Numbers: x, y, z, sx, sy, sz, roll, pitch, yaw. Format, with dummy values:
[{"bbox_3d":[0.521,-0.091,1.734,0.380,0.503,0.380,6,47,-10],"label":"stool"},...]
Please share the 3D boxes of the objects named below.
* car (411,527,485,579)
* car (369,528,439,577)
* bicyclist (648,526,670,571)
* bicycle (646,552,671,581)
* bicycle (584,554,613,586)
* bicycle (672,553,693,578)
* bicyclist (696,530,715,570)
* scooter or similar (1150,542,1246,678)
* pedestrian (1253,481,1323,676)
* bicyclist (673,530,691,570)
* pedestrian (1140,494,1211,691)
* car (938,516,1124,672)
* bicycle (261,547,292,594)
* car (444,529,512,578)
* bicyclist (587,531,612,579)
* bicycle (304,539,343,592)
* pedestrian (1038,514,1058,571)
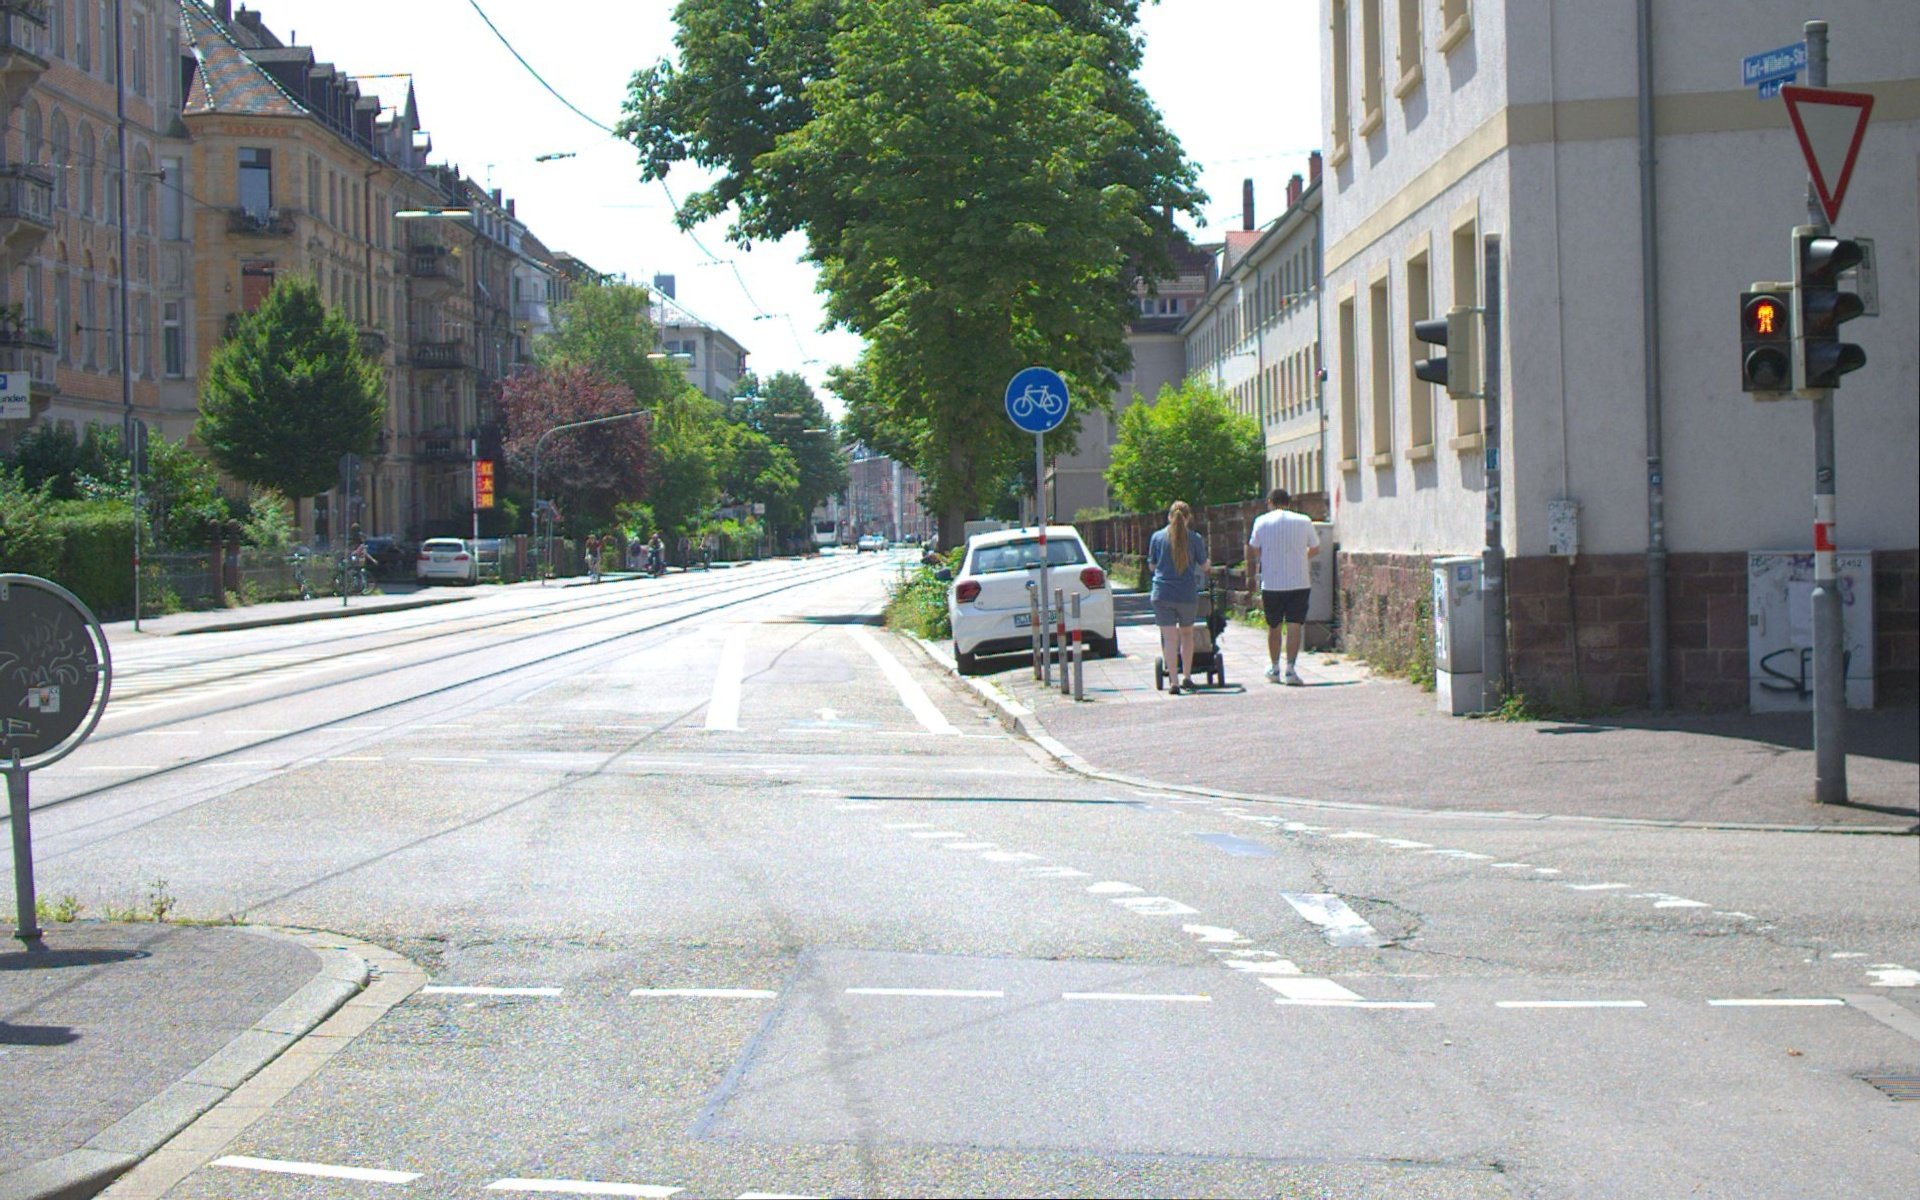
[{"bbox_3d":[-17.193,-1.581,115.570,1.919,1.709,4.000,1,1,-1],"label":"car"},{"bbox_3d":[-20.023,-1.704,123.908,1.919,1.709,4.000,1,1,-1],"label":"car"},{"bbox_3d":[-11.775,-2.007,134.655,0.727,1.762,1.079,1,0,1],"label":"bicyclist"},{"bbox_3d":[-11.787,-1.314,134.579,0.727,1.119,2.085,1,1,1],"label":"bicycle"},{"bbox_3d":[-12.501,-1.039,119.063,0.727,1.119,2.085,1,1,1],"label":"bicycle"},{"bbox_3d":[-12.667,-1.559,156.805,0.727,1.119,2.085,1,1,1],"label":"bicycle"},{"bbox_3d":[-11.596,-2.260,156.689,0.727,1.812,1.079,1,0,1],"label":"bicyclist"},{"bbox_3d":[2.086,0.079,29.974,0.557,1.151,1.204,1,0,17],"label":"scooter or similar"},{"bbox_3d":[2.797,-0.184,29.328,0.557,1.640,0.677,1,0,5],"label":"pedestrian"},{"bbox_3d":[-12.671,-2.275,156.733,0.727,1.812,1.079,1,0,1],"label":"bicyclist"},{"bbox_3d":[1.828,-0.066,29.072,0.557,1.640,0.677,1,0,5],"label":"pedestrian"},{"bbox_3d":[0.717,-0.085,37.323,1.815,1.511,4.000,-3,1,-1],"label":"car"},{"bbox_3d":[-15.908,-0.702,80.031,0.677,1.061,1.919,-1,1,-11],"label":"bicycle"},{"bbox_3d":[-17.337,-1.666,123.834,1.919,1.709,4.000,1,1,-1],"label":"car"},{"bbox_3d":[-12.495,-1.560,119.093,0.727,1.623,1.079,1,0,1],"label":"bicyclist"},{"bbox_3d":[-15.665,-0.852,84.674,0.677,1.274,1.919,-1,1,-3],"label":"bicycle"},{"bbox_3d":[2.459,-1.603,95.991,0.521,1.557,0.573,-1,1,-1],"label":"pedestrian"}]
